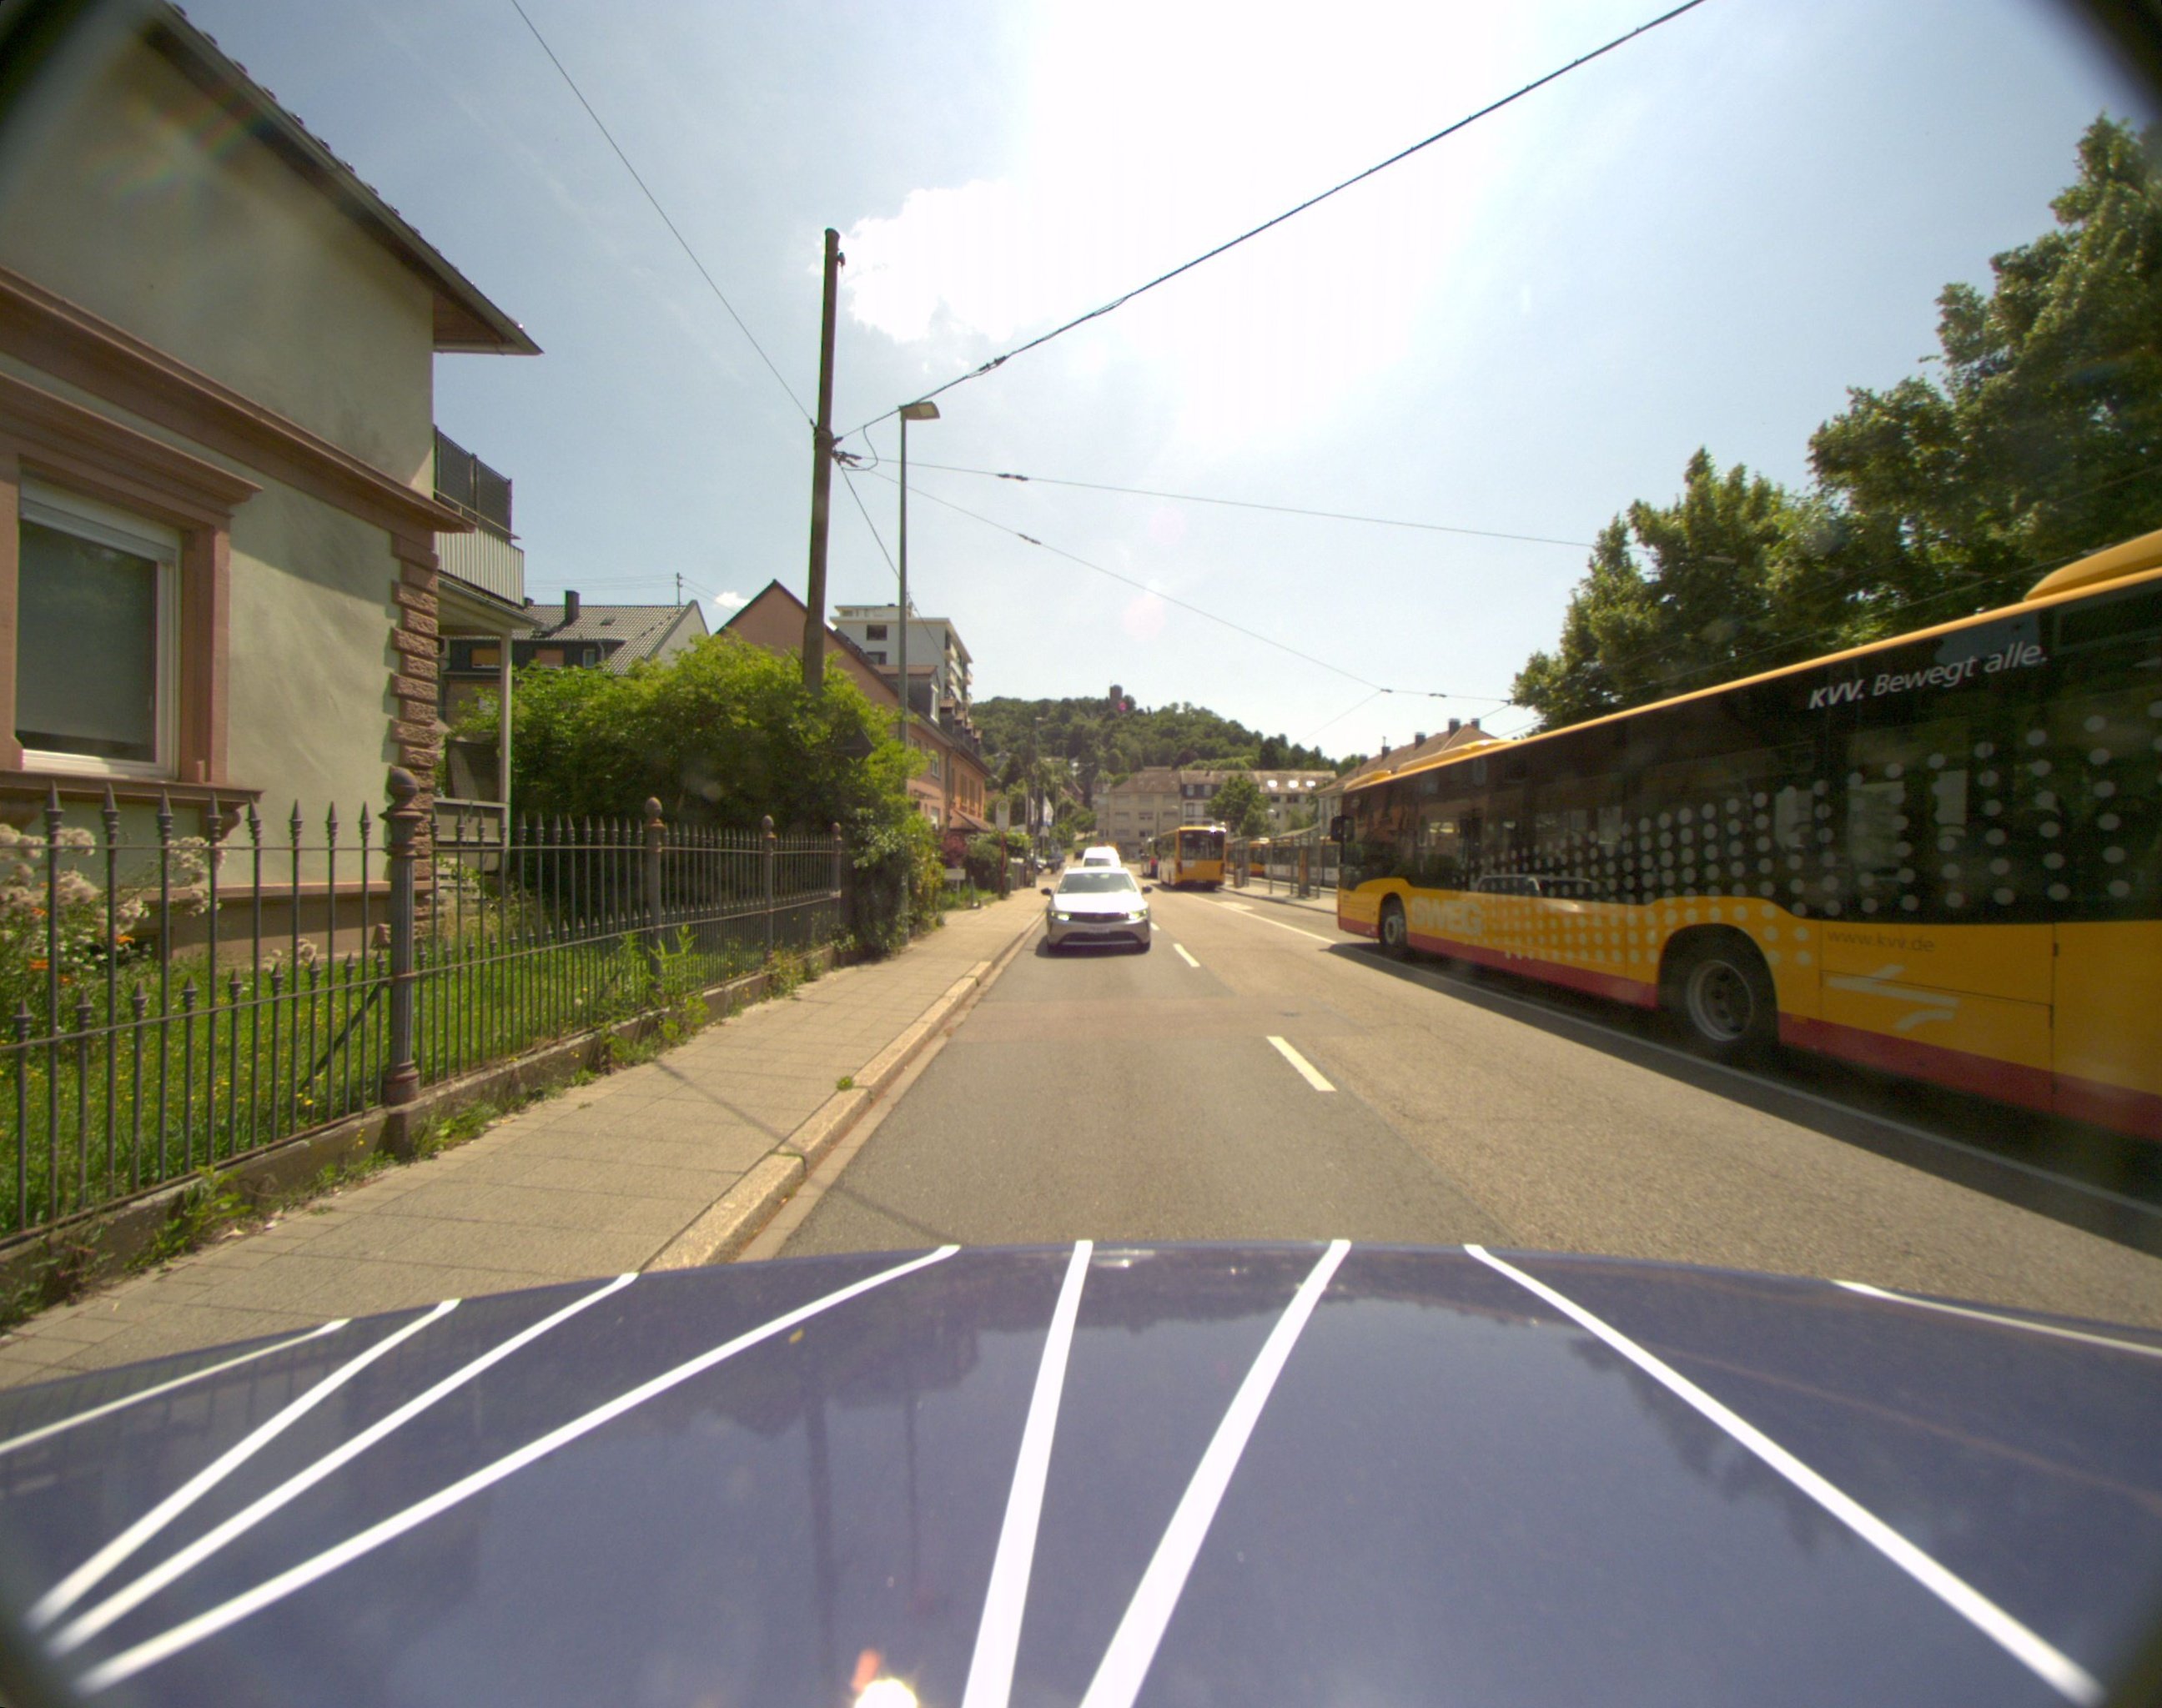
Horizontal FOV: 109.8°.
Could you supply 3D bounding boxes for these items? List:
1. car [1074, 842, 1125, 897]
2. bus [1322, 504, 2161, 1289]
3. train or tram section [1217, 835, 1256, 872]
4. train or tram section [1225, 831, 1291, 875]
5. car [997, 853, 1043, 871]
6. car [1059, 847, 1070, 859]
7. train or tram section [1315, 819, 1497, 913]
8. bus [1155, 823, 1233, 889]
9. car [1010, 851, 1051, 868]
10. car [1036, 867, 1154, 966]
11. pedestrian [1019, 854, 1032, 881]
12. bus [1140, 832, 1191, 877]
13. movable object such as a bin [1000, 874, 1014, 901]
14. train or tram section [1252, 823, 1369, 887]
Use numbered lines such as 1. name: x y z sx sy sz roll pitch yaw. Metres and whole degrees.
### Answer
1. car: 0.762 0.624 34.912 1.999 2.258 5.442 -1 2 -2
2. bus: 5.925 0.109 8.065 2.914 3.229 12.117 -1 1 0
3. train or tram section: 15.417 -0.091 75.458 2.971 3.475 4.417 1 1 1
4. train or tram section: 15.351 -0.148 67.078 2.971 3.475 12.656 -1 1 1
5. car: -5.485 0.687 68.174 3.890 1.534 1.840 0 1 -12
6. car: -2.858 -0.221 130.644 1.708 1.840 4.710 -1 2 -2
7. train or tram section: 14.897 0.420 36.815 2.971 3.621 13.992 -1 1 1
8. bus: 6.251 -0.037 44.161 2.905 3.229 12.194 -1 1 1
9. car: -5.542 0.583 82.801 4.277 1.779 1.827 0 2 40
10. car: 0.383 1.001 13.874 1.817 1.371 4.393 0 1 5
11. pedestrian: -3.429 0.806 46.837 0.707 1.631 0.659 2 -1 -9
12. bus: 6.863 0.075 63.659 2.915 3.406 12.040 -1 0 0
13. movable object such as a bin: -2.678 1.198 27.597 0.407 0.902 0.729 4 2 -2
14. train or tram section: 15.135 -0.009 52.262 2.971 3.621 17.350 -1 1 1
